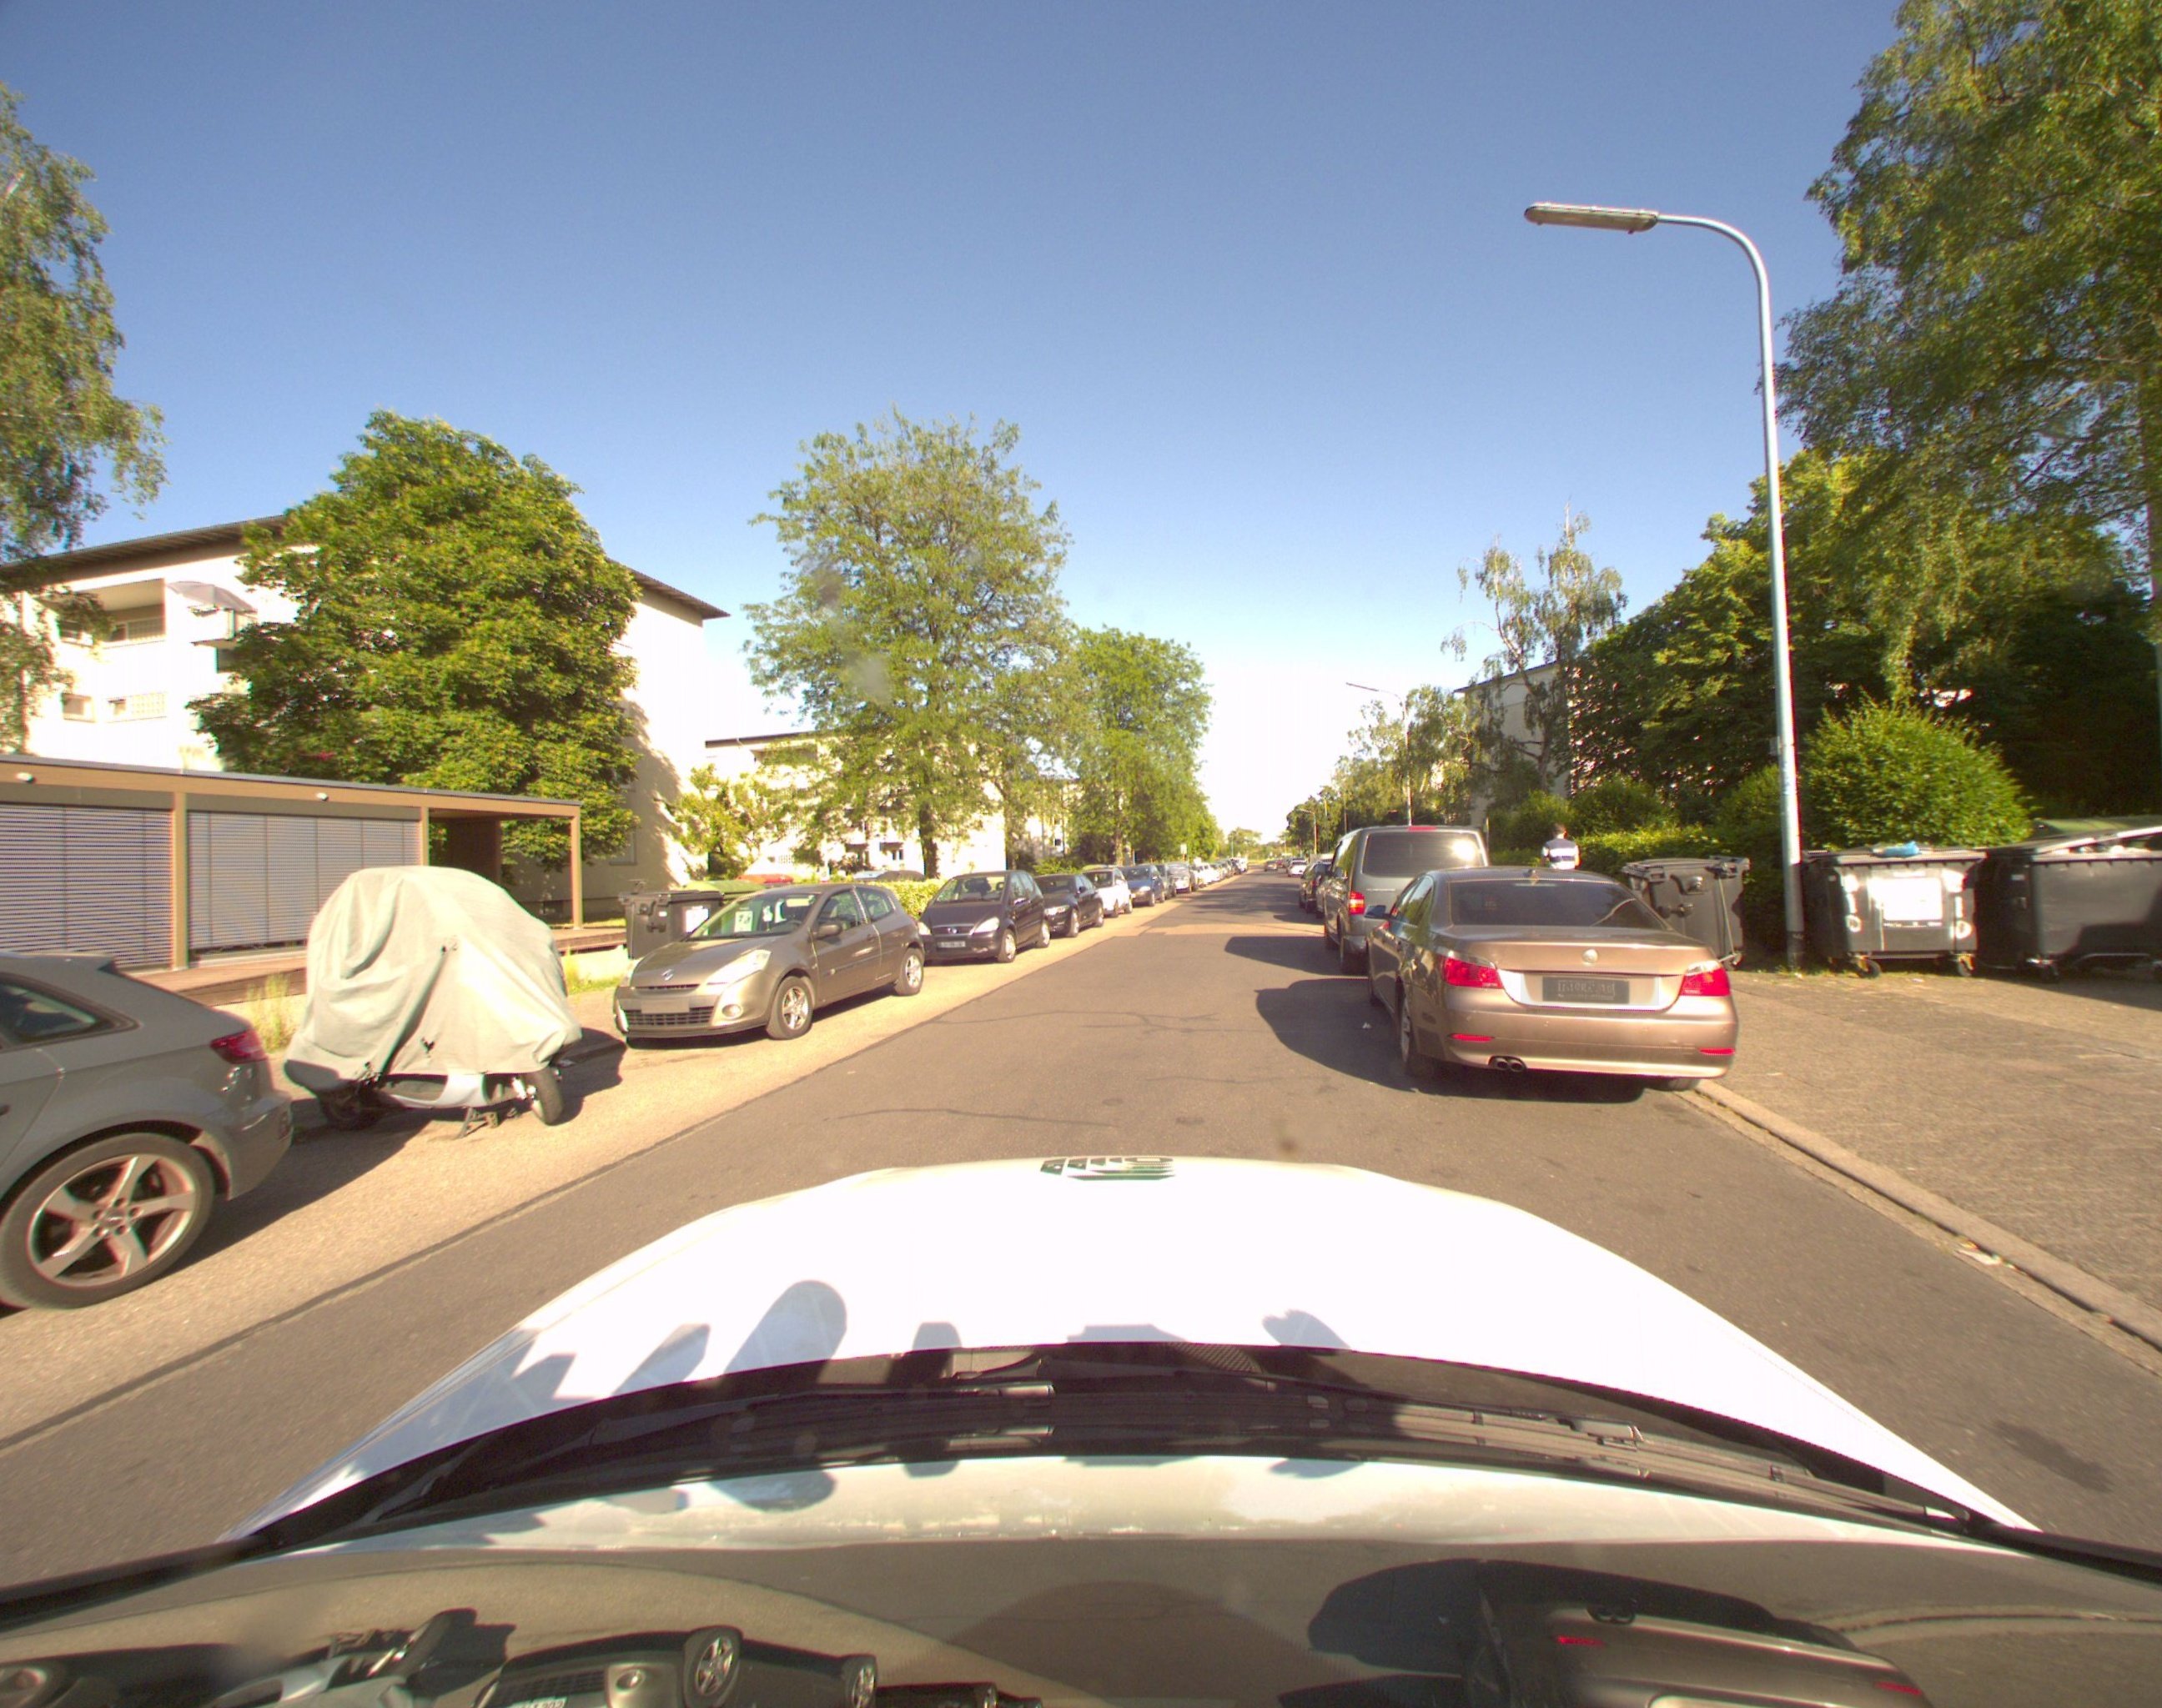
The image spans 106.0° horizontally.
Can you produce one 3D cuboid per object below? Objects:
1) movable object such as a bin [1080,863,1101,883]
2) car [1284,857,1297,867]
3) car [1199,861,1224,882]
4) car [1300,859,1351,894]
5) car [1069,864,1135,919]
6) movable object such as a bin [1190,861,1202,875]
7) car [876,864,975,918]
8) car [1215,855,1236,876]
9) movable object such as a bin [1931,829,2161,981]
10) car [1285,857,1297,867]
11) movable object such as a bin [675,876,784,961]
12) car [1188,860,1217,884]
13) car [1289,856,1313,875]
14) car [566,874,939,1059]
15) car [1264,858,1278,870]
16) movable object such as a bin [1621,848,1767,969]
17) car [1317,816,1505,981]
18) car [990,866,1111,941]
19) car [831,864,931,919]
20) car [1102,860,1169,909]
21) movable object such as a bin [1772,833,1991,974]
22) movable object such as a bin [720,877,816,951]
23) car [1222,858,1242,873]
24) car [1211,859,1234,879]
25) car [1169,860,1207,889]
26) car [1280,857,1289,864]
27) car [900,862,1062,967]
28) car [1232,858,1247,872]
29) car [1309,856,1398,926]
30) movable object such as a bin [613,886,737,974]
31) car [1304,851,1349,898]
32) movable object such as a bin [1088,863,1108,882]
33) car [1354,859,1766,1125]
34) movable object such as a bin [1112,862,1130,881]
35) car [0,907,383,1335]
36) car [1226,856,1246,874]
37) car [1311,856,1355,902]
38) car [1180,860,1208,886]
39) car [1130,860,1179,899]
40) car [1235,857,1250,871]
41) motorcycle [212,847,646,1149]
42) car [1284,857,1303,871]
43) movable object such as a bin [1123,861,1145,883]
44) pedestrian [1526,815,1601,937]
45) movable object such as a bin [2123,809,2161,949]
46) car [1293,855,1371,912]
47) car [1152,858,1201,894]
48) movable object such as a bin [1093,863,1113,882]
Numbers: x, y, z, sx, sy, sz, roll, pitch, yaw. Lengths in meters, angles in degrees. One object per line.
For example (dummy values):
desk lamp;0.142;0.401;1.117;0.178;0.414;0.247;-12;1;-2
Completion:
movable object such as a bin;0.700;1.410;59.511;1.169;1.421;1.468;0;0;16
car;33.343;1.274;129.685;1.784;1.562;3.964;-1;-1;11
car;10.285;1.315;63.833;1.675;1.505;3.830;-3;-1;12
car;10.530;0.932;35.295;1.720;1.403;3.907;-1;0;11
car;0.725;1.154;26.143;1.434;1.574;3.153;-4;-1;12
movable object such as a bin;12.175;1.465;86.427;1.093;1.421;1.366;0;0;14
car;-4.737;1.095;25.350;1.560;1.525;4.013;-1;-1;12
car;14.267;1.104;80.216;1.842;1.892;4.432;-3;-1;12
movable object such as a bin;9.544;0.474;7.960;1.266;1.365;1.138;-3;-1;17
car;37.358;1.470;145.168;1.784;1.786;3.964;-1;-1;11
movable object such as a bin;-6.249;1.131;14.562;1.169;1.408;1.348;-2;-1;14
car;8.703;1.250;58.195;1.675;1.535;3.904;-3;-1;13
car;18.564;0.980;68.845;1.742;1.513;4.117;-1;0;11
car;-3.311;1.070;9.151;1.741;1.481;3.975;-5;-1;15
car;24.986;1.291;107.251;1.669;1.513;4.117;-1;0;11
movable object such as a bin;7.366;0.628;9.891;1.017;1.310;1.394;-6;-2;24
car;4.604;0.547;12.090;1.840;1.934;4.721;-1;-1;13
car;-0.597;1.121;19.889;1.742;1.481;4.553;-5;-1;12
car;-6.419;1.163;26.641;1.560;1.641;4.013;-1;-1;12
car;2.176;1.119;31.282;1.741;1.606;3.984;-5;-1;14
movable object such as a bin;8.392;0.507;8.636;1.214;1.365;1.138;-3;-1;17
movable object such as a bin;-6.119;1.160;16.005;1.169;1.340;1.348;-2;-1;15
car;16.573;1.268;89.263;1.733;1.533;4.156;-4;-1;16
car;12.882;1.339;74.000;1.698;1.600;3.999;-5;-1;12
car;6.271;1.162;47.378;1.650;1.513;3.961;-3;-1;15
car;45.864;1.450;183.901;1.784;1.549;3.964;-1;-1;11
car;-1.686;1.014;15.082;1.742;1.574;3.732;-4;-1;12
car;20.128;1.403;103.171;1.735;1.670;4.391;-3;-1;11
car;6.426;0.804;19.540;1.612;1.490;4.050;-1;-1;13
movable object such as a bin;-6.551;1.198;13.211;1.169;1.288;1.348;-2;-1;14
car;9.425;0.772;31.380;1.478;1.718;2.592;-1;-1;13
movable object such as a bin;1.270;1.378;61.213;1.169;1.421;1.468;0;0;16
car;3.389;0.770;6.828;1.787;1.419;4.654;-1;-1;15
movable object such as a bin;3.082;1.367;62.950;1.126;1.421;1.366;0;0;15
car;-4.882;1.036;2.188;1.742;1.421;4.284;-5;-1;13
car;18.094;1.253;95.222;1.901;1.962;5.106;-4;-1;14
car;8.881;0.858;28.682;1.404;1.523;2.569;-1;-1;17
car;7.183;1.214;51.825;1.653;1.513;3.545;-3;-1;7
car;3.341;1.111;36.511;1.624;1.606;3.547;-3;-1;13
car;21.522;1.333;108.622;1.734;1.732;4.020;-4;-1;14
motorcycle;-4.284;0.914;5.429;2.242;1.727;0.935;-5;-2;10
car;23.610;1.091;90.529;1.894;1.531;4.344;-2;-1;14
movable object such as a bin;3.334;1.108;50.966;1.128;1.382;1.447;0;0;15
pedestrian;7.866;0.357;13.315;0.698;1.888;0.876;-5;-2;14
movable object such as a bin;12.033;0.263;8.332;1.266;1.465;1.138;-3;3;17
car;7.452;0.834;24.554;1.720;1.490;4.515;-3;-1;11
car;4.982;1.084;41.812;1.889;1.640;4.365;-3;-1;13
movable object such as a bin;1.696;1.393;62.680;1.169;1.421;1.468;0;0;16
